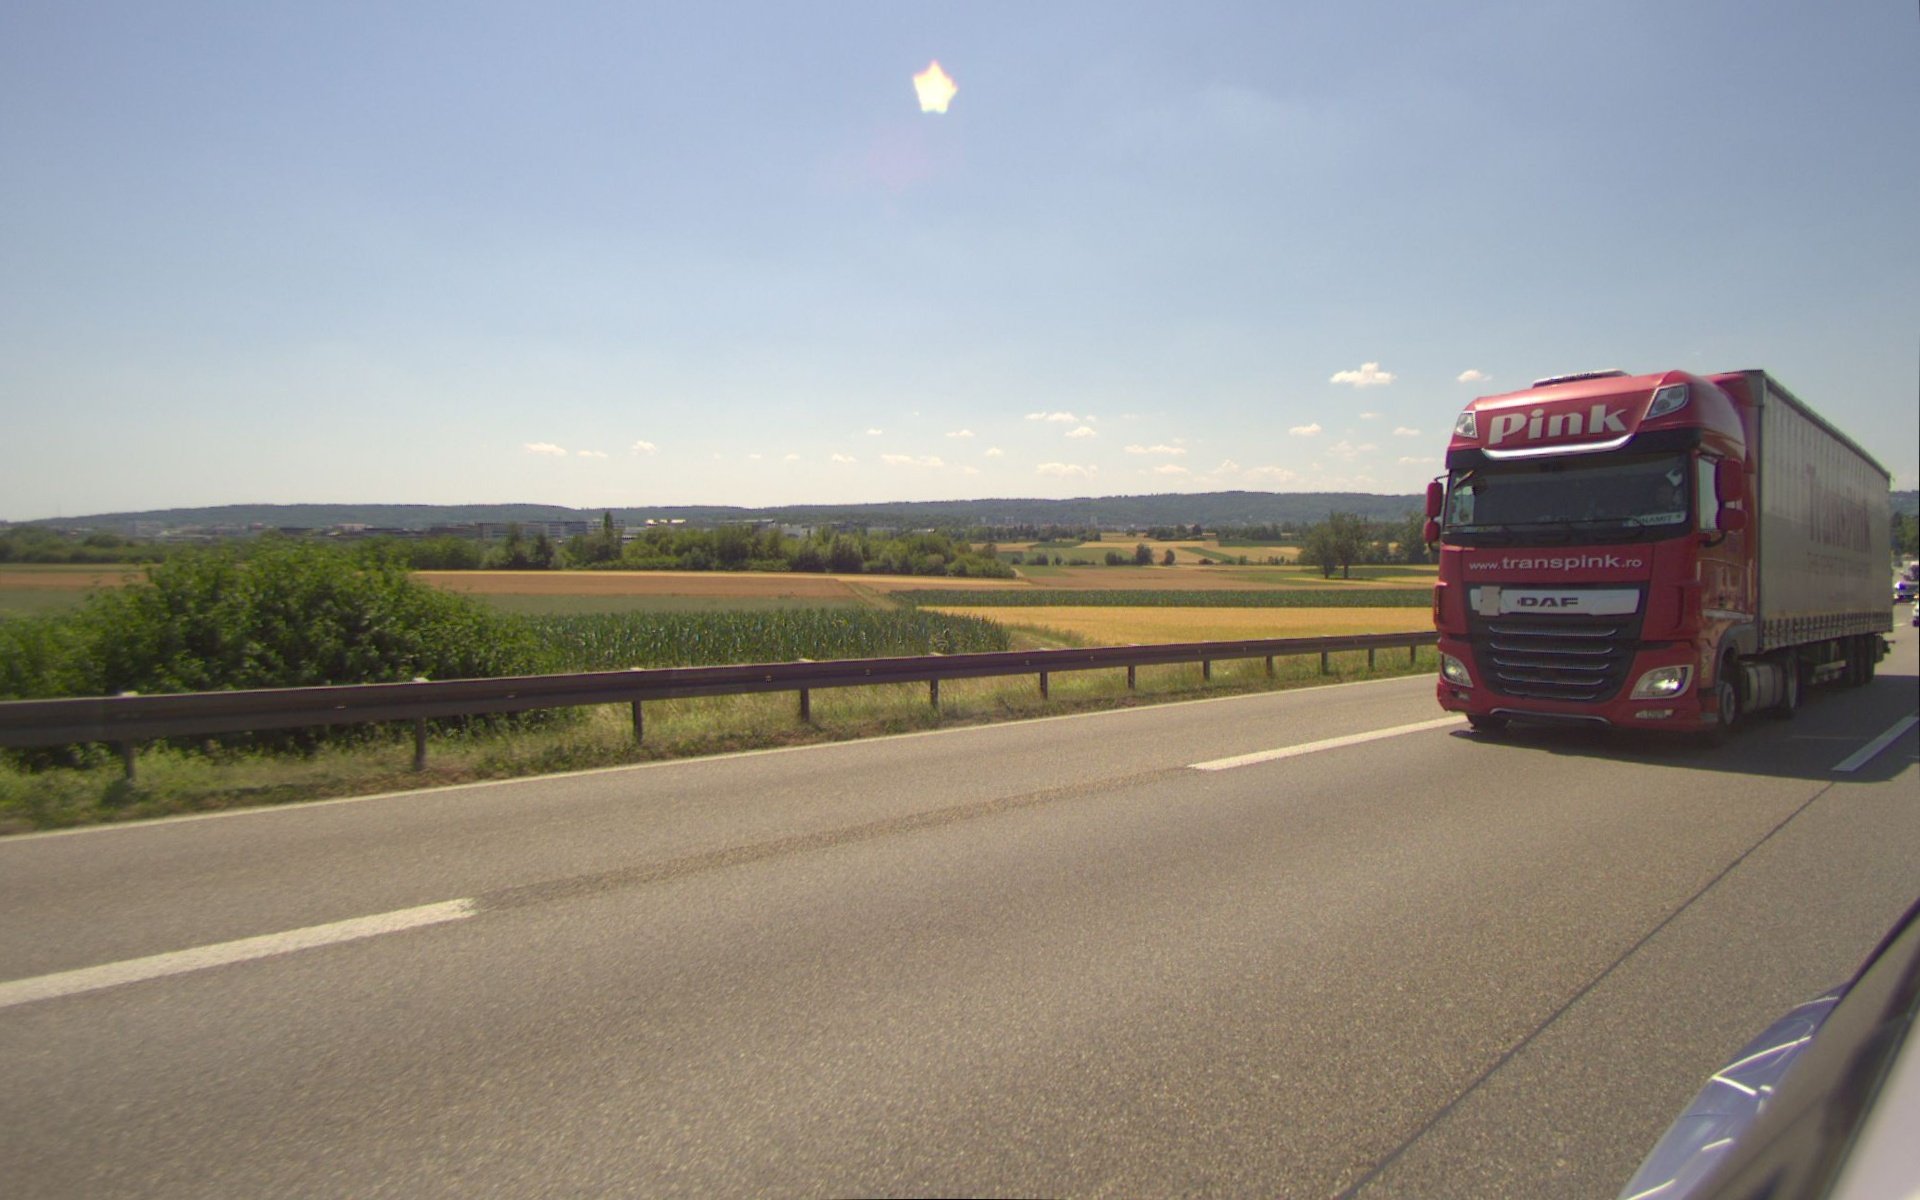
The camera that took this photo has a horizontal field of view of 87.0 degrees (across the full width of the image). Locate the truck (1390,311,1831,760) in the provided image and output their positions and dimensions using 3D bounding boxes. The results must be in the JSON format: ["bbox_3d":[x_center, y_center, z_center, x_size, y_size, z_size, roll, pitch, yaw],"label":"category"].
[{"bbox_3d":[8.188,-0.638,12.387,6.399,4.059,2.920,-1,0,-42],"label":"truck"}]

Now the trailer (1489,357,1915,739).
[{"bbox_3d":[12.958,-0.683,16.691,13.621,4.169,2.922,-1,0,-42],"label":"trailer"}]
